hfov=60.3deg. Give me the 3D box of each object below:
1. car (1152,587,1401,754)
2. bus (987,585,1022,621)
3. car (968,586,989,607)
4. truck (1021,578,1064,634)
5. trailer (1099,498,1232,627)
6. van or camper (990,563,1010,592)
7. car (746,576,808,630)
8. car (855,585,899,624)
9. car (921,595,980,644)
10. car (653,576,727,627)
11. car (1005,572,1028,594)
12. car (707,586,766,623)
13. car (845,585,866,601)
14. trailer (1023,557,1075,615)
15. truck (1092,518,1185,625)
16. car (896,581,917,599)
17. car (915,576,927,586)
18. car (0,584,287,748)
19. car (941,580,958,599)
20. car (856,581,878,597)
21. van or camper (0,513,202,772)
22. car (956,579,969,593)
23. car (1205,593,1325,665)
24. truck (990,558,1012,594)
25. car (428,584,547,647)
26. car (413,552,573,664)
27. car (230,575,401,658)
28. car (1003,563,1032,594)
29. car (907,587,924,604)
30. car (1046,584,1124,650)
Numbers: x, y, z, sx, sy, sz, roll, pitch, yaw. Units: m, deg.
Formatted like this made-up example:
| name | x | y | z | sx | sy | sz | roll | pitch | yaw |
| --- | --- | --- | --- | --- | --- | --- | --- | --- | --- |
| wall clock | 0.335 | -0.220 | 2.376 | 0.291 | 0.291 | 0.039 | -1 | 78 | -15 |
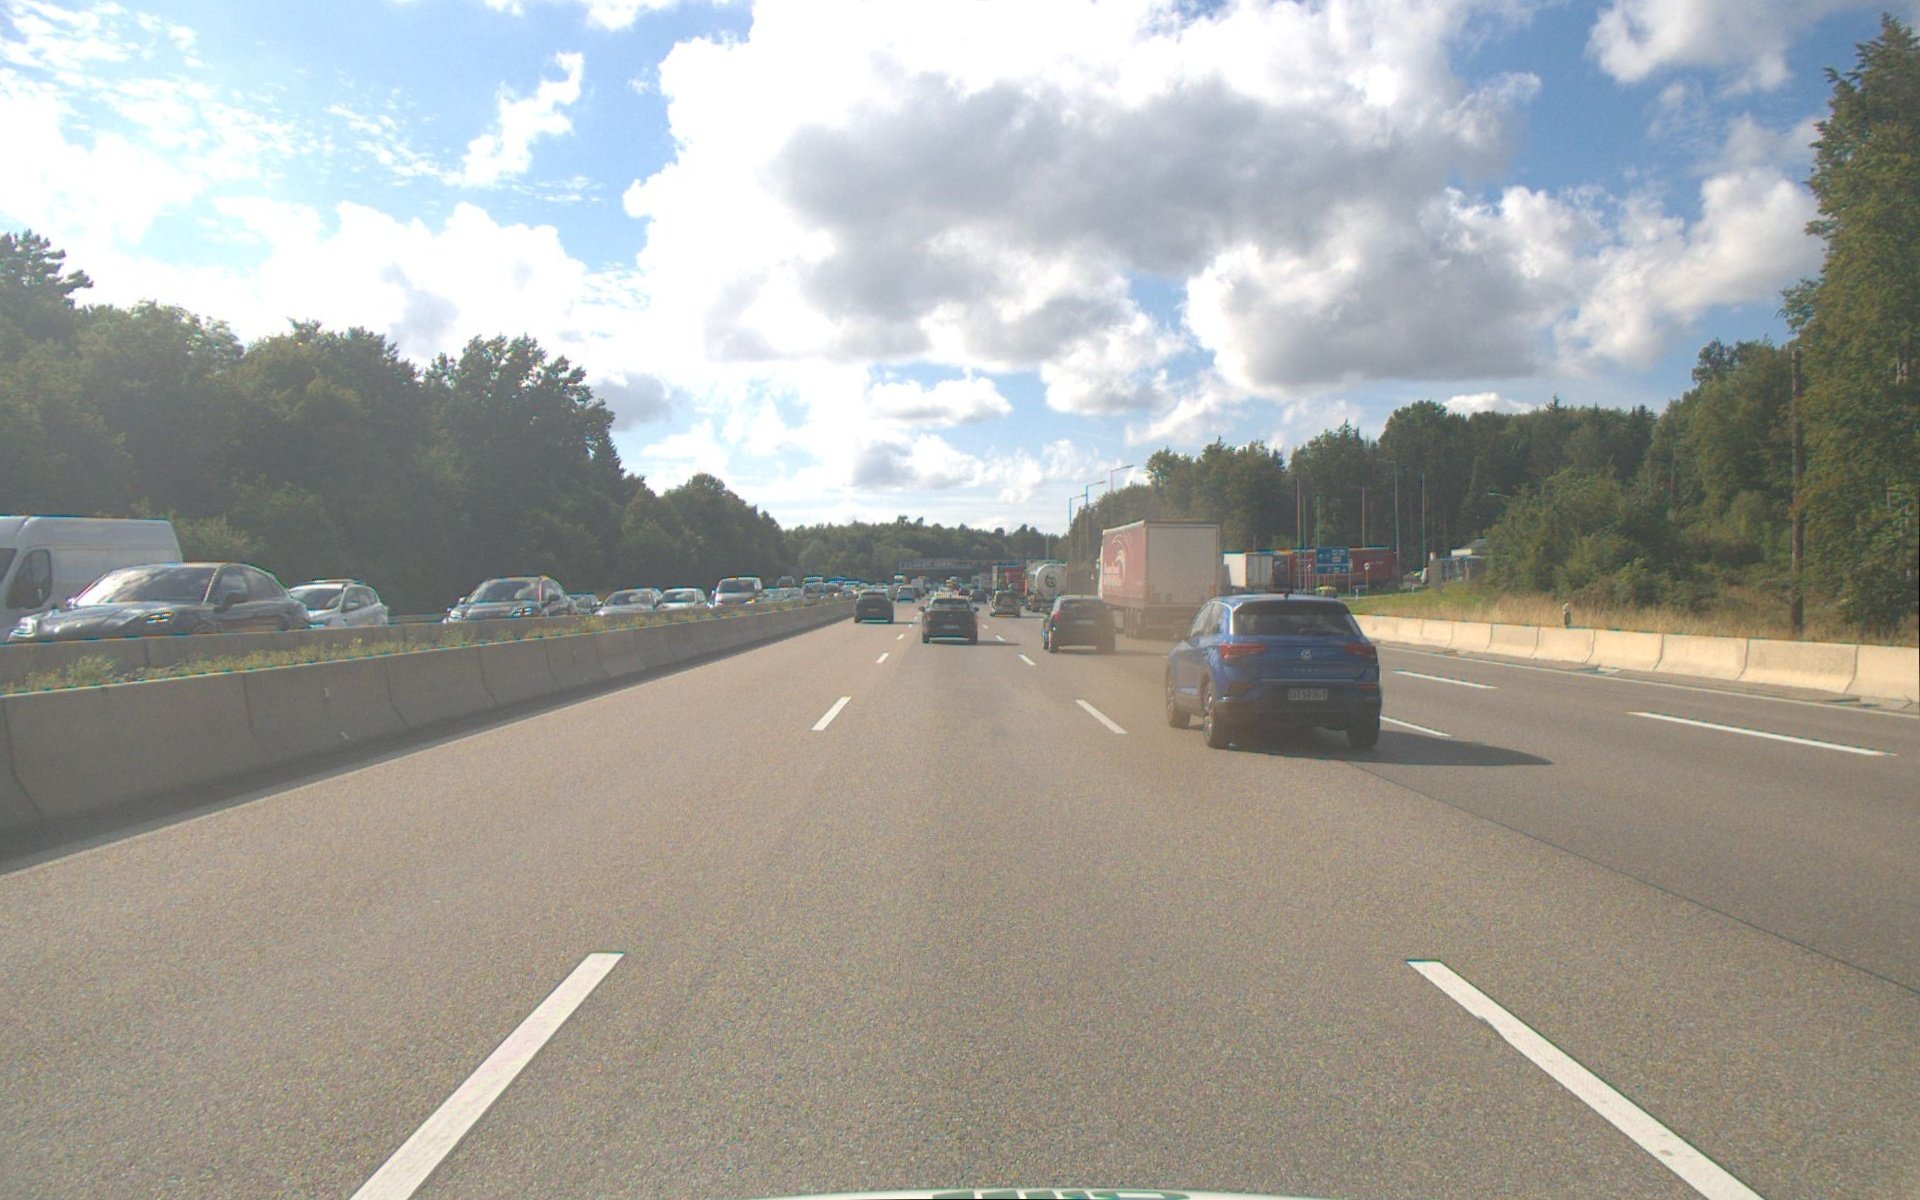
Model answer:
| name | x | y | z | sx | sy | sz | roll | pitch | yaw |
| --- | --- | --- | --- | --- | --- | --- | --- | --- | --- |
| car | 3.344 | 0.727 | 18.372 | 1.884 | 1.568 | 4.645 | 2 | -1 | 0 |
| bus | 2.681 | 0.198 | 100.656 | 1.953 | 2.049 | 3.999 | 1 | -1 | 0 |
| car | 1.891 | -0.363 | 169.787 | 1.953 | 2.049 | 3.999 | 1 | -1 | -1 |
| truck | 6.435 | 0.510 | 130.059 | 2.983 | 4.233 | 7.125 | 0 | -1 | -1 |
| trailer | 7.335 | -1.128 | 61.270 | 2.976 | 4.106 | 13.886 | 1 | -1 | -1 |
| van or camper | 4.666 | -2.620 | 193.915 | 2.303 | 3.199 | 5.710 | 1 | -1 | 1 |
| car | -6.880 | 0.080 | 62.462 | 1.953 | 1.954 | 3.999 | 1 | 1 | -2 |
| car | -4.007 | 0.224 | 80.355 | 1.953 | 1.807 | 4.000 | 1 | 0 | 0 |
| car | -0.328 | 0.567 | 51.761 | 1.699 | 1.389 | 3.999 | 1 | 1 | -2 |
| car | -9.950 | 0.046 | 61.283 | 1.953 | 1.766 | 5.090 | 1 | 0 | -1 |
| car | 5.437 | -1.624 | 159.307 | 1.953 | 2.049 | 3.999 | 1 | -1 | -1 |
| car | -10.027 | 0.172 | 74.428 | 1.952 | 1.600 | 4.815 | 1 | 1 | 0 |
| car | -10.593 | -0.694 | 167.825 | 1.729 | 1.600 | 4.357 | 1 | 1 | 0 |
| trailer | 6.551 | -0.939 | 123.951 | 2.974 | 4.086 | 12.241 | 0 | -1 | -1 |
| truck | 7.249 | -1.068 | 67.966 | 3.017 | 4.135 | 6.068 | 1 | -1 | -1 |
| car | -5.639 | -1.080 | 173.926 | 2.111 | 1.807 | 3.999 | 1 | -1 | 0 |
| car | -5.699 | -2.772 | 242.457 | 1.590 | 1.496 | 3.814 | 2 | 0 | 0 |
| car | -9.404 | 0.660 | 18.817 | 1.799 | 1.619 | 4.287 | 1 | 0 | -2 |
| car | -1.232 | -1.221 | 189.734 | 1.953 | 2.049 | 3.999 | -1 | -1 | -1 |
| car | -9.872 | -1.133 | 176.449 | 1.953 | 1.600 | 5.329 | 2 | 1 | 0 |
| van or camper | -13.106 | 0.497 | 23.278 | 2.095 | 3.228 | 6.242 | 1 | 0 | -2 |
| car | 0.426 | -2.240 | 260.317 | 1.953 | 2.049 | 3.999 | 2 | 0 | -1 |
| car | 6.913 | 0.651 | 37.874 | 1.681 | 1.538 | 4.298 | 0 | -1 | -4 |
| truck | 4.623 | -2.651 | 187.193 | 2.309 | 3.635 | 11.265 | 1 | -1 | 1 |
| car | -13.036 | 0.450 | 45.948 | 1.952 | 1.624 | 4.524 | 1 | -1 | 0 |
| car | -9.248 | 0.141 | 33.158 | 1.844 | 2.049 | 4.519 | 1 | 0 | 0 |
| car | -13.427 | 0.370 | 34.705 | 1.952 | 1.624 | 4.000 | 1 | -1 | 0 |
| car | 5.839 | -2.171 | 169.048 | 2.807 | 3.044 | 5.149 | 1 | -1 | 0 |
| car | -5.464 | -0.585 | 202.876 | 1.953 | 2.049 | 3.999 | 1 | 0 | -1 |
| car | 3.337 | 0.456 | 44.780 | 1.762 | 1.673 | 3.999 | 1 | -1 | 0 |
